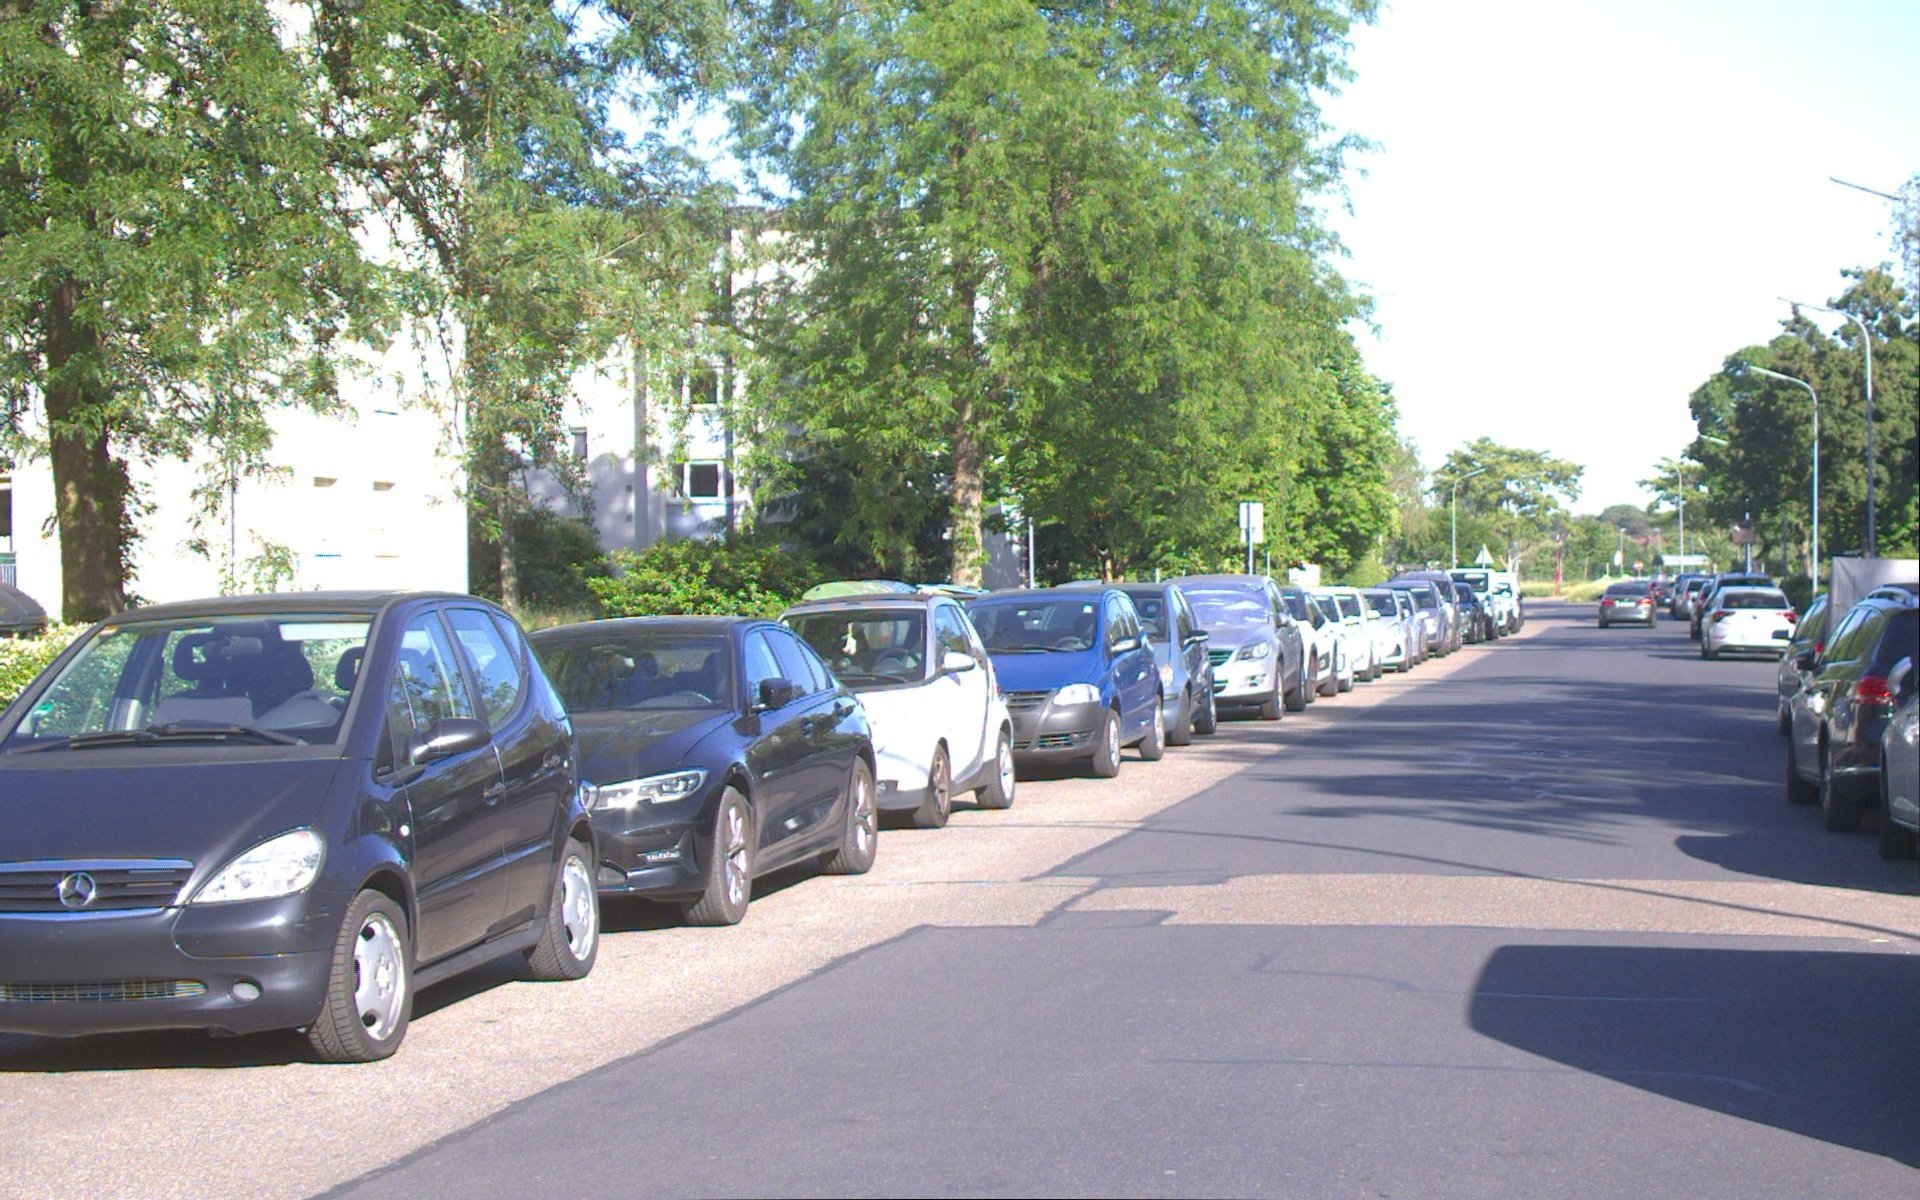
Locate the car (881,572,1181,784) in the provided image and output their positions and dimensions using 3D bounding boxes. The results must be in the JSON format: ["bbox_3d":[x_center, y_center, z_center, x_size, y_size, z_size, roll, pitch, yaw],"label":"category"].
[{"bbox_3d":[0.680,0.608,29.095,1.755,1.601,3.966,-3,0,12],"label":"car"}]

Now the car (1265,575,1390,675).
[{"bbox_3d":[6.037,0.388,56.175,1.687,1.529,3.889,-1,0,11],"label":"car"}]

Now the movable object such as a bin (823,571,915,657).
[{"bbox_3d":[-1.552,0.231,58.800,1.178,1.416,1.461,2,1,13],"label":"movable object such as a bin"}]

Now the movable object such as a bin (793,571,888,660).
[{"bbox_3d":[-1.979,0.249,57.086,1.178,1.416,1.461,2,1,13],"label":"movable object such as a bin"}]

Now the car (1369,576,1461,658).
[{"bbox_3d":[9.546,0.341,71.943,1.710,1.595,3.984,-3,0,10],"label":"car"}]

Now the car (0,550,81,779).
[{"bbox_3d":[-7.734,0.457,24.064,1.571,1.635,3.998,1,1,9],"label":"car"}]

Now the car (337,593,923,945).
[{"bbox_3d":[-1.503,0.755,17.513,1.755,1.476,4.535,-3,0,10],"label":"car"}]

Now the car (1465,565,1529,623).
[{"bbox_3d":[16.662,-0.192,106.635,1.747,1.726,4.003,-2,0,11],"label":"car"}]

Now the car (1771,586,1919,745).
[{"bbox_3d":[8.865,0.592,33.124,1.732,1.399,3.894,1,1,9],"label":"car"}]

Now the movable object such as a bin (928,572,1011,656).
[{"bbox_3d":[0.169,0.241,60.491,1.135,1.416,1.360,2,1,13],"label":"movable object such as a bin"}]

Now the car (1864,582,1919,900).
[{"bbox_3d":[5.592,0.673,17.451,1.623,1.485,4.034,1,1,11],"label":"car"}]

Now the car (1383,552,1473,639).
[{"bbox_3d":[10.688,-0.110,78.327,1.855,1.886,4.416,-2,0,10],"label":"car"}]

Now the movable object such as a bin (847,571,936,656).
[{"bbox_3d":[-1.190,0.229,60.277,1.178,1.416,1.461,2,1,13],"label":"movable object such as a bin"}]

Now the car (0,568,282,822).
[{"bbox_3d":[-5.982,0.555,22.862,1.571,1.520,3.998,1,1,9],"label":"car"}]

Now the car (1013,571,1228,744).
[{"bbox_3d":[1.640,0.529,34.116,1.636,1.600,3.533,-1,0,10],"label":"car"}]

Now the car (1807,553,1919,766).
[{"bbox_3d":[8.037,0.481,29.163,1.489,1.712,2.582,1,1,11],"label":"car"}]

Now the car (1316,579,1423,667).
[{"bbox_3d":[7.373,0.386,61.637,1.687,1.500,3.816,-1,0,10],"label":"car"}]

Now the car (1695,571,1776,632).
[{"bbox_3d":[19.951,0.024,88.554,1.909,1.525,4.326,0,0,11],"label":"car"}]

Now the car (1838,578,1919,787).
[{"bbox_3d":[7.488,0.605,26.334,1.416,1.518,2.556,1,1,15],"label":"car"}]

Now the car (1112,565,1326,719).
[{"bbox_3d":[3.031,0.444,39.500,1.904,1.634,4.347,-1,0,11],"label":"car"}]

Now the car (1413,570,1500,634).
[{"bbox_3d":[12.601,0.038,87.060,1.747,1.528,4.136,-2,0,14],"label":"car"}]

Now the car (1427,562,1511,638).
[{"bbox_3d":[13.830,-0.031,93.214,1.916,1.956,5.085,-2,0,12],"label":"car"}]

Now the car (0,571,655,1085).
[{"bbox_3d":[-2.481,0.718,12.602,1.755,1.569,3.719,-3,0,10],"label":"car"}]

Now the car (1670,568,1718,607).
[{"bbox_3d":[31.624,-0.546,148.129,1.796,1.638,3.950,1,0,9],"label":"car"}]

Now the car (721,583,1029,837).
[{"bbox_3d":[-0.520,0.703,23.656,1.445,1.569,3.141,-3,0,10],"label":"car"}]

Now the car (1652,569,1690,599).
[{"bbox_3d":[37.734,-0.837,182.521,1.796,1.543,3.950,1,0,9],"label":"car"}]

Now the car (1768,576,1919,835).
[{"bbox_3d":[6.322,0.598,22.312,1.732,1.485,4.499,-1,0,9],"label":"car"}]

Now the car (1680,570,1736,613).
[{"bbox_3d":[27.829,-0.321,128.050,1.796,1.556,3.950,1,0,9],"label":"car"}]

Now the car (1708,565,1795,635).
[{"bbox_3d":[19.022,-0.023,82.775,1.909,1.634,4.626,0,0,11],"label":"car"}]

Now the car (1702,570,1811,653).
[{"bbox_3d":[15.486,0.198,66.989,1.754,1.508,4.103,1,1,9],"label":"car"}]

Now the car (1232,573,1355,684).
[{"bbox_3d":[4.813,0.387,49.766,1.663,1.508,3.537,-1,0,5],"label":"car"}]

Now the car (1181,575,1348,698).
[{"bbox_3d":[4.036,0.448,45.104,1.663,1.508,3.943,-1,0,12],"label":"car"}]

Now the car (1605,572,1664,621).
[{"bbox_3d":[21.714,-0.129,110.710,1.680,1.508,4.103,1,1,9],"label":"car"}]

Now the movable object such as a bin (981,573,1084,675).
[{"bbox_3d":[1.034,0.328,48.670,1.137,1.378,1.441,2,1,13],"label":"movable object such as a bin"}]
